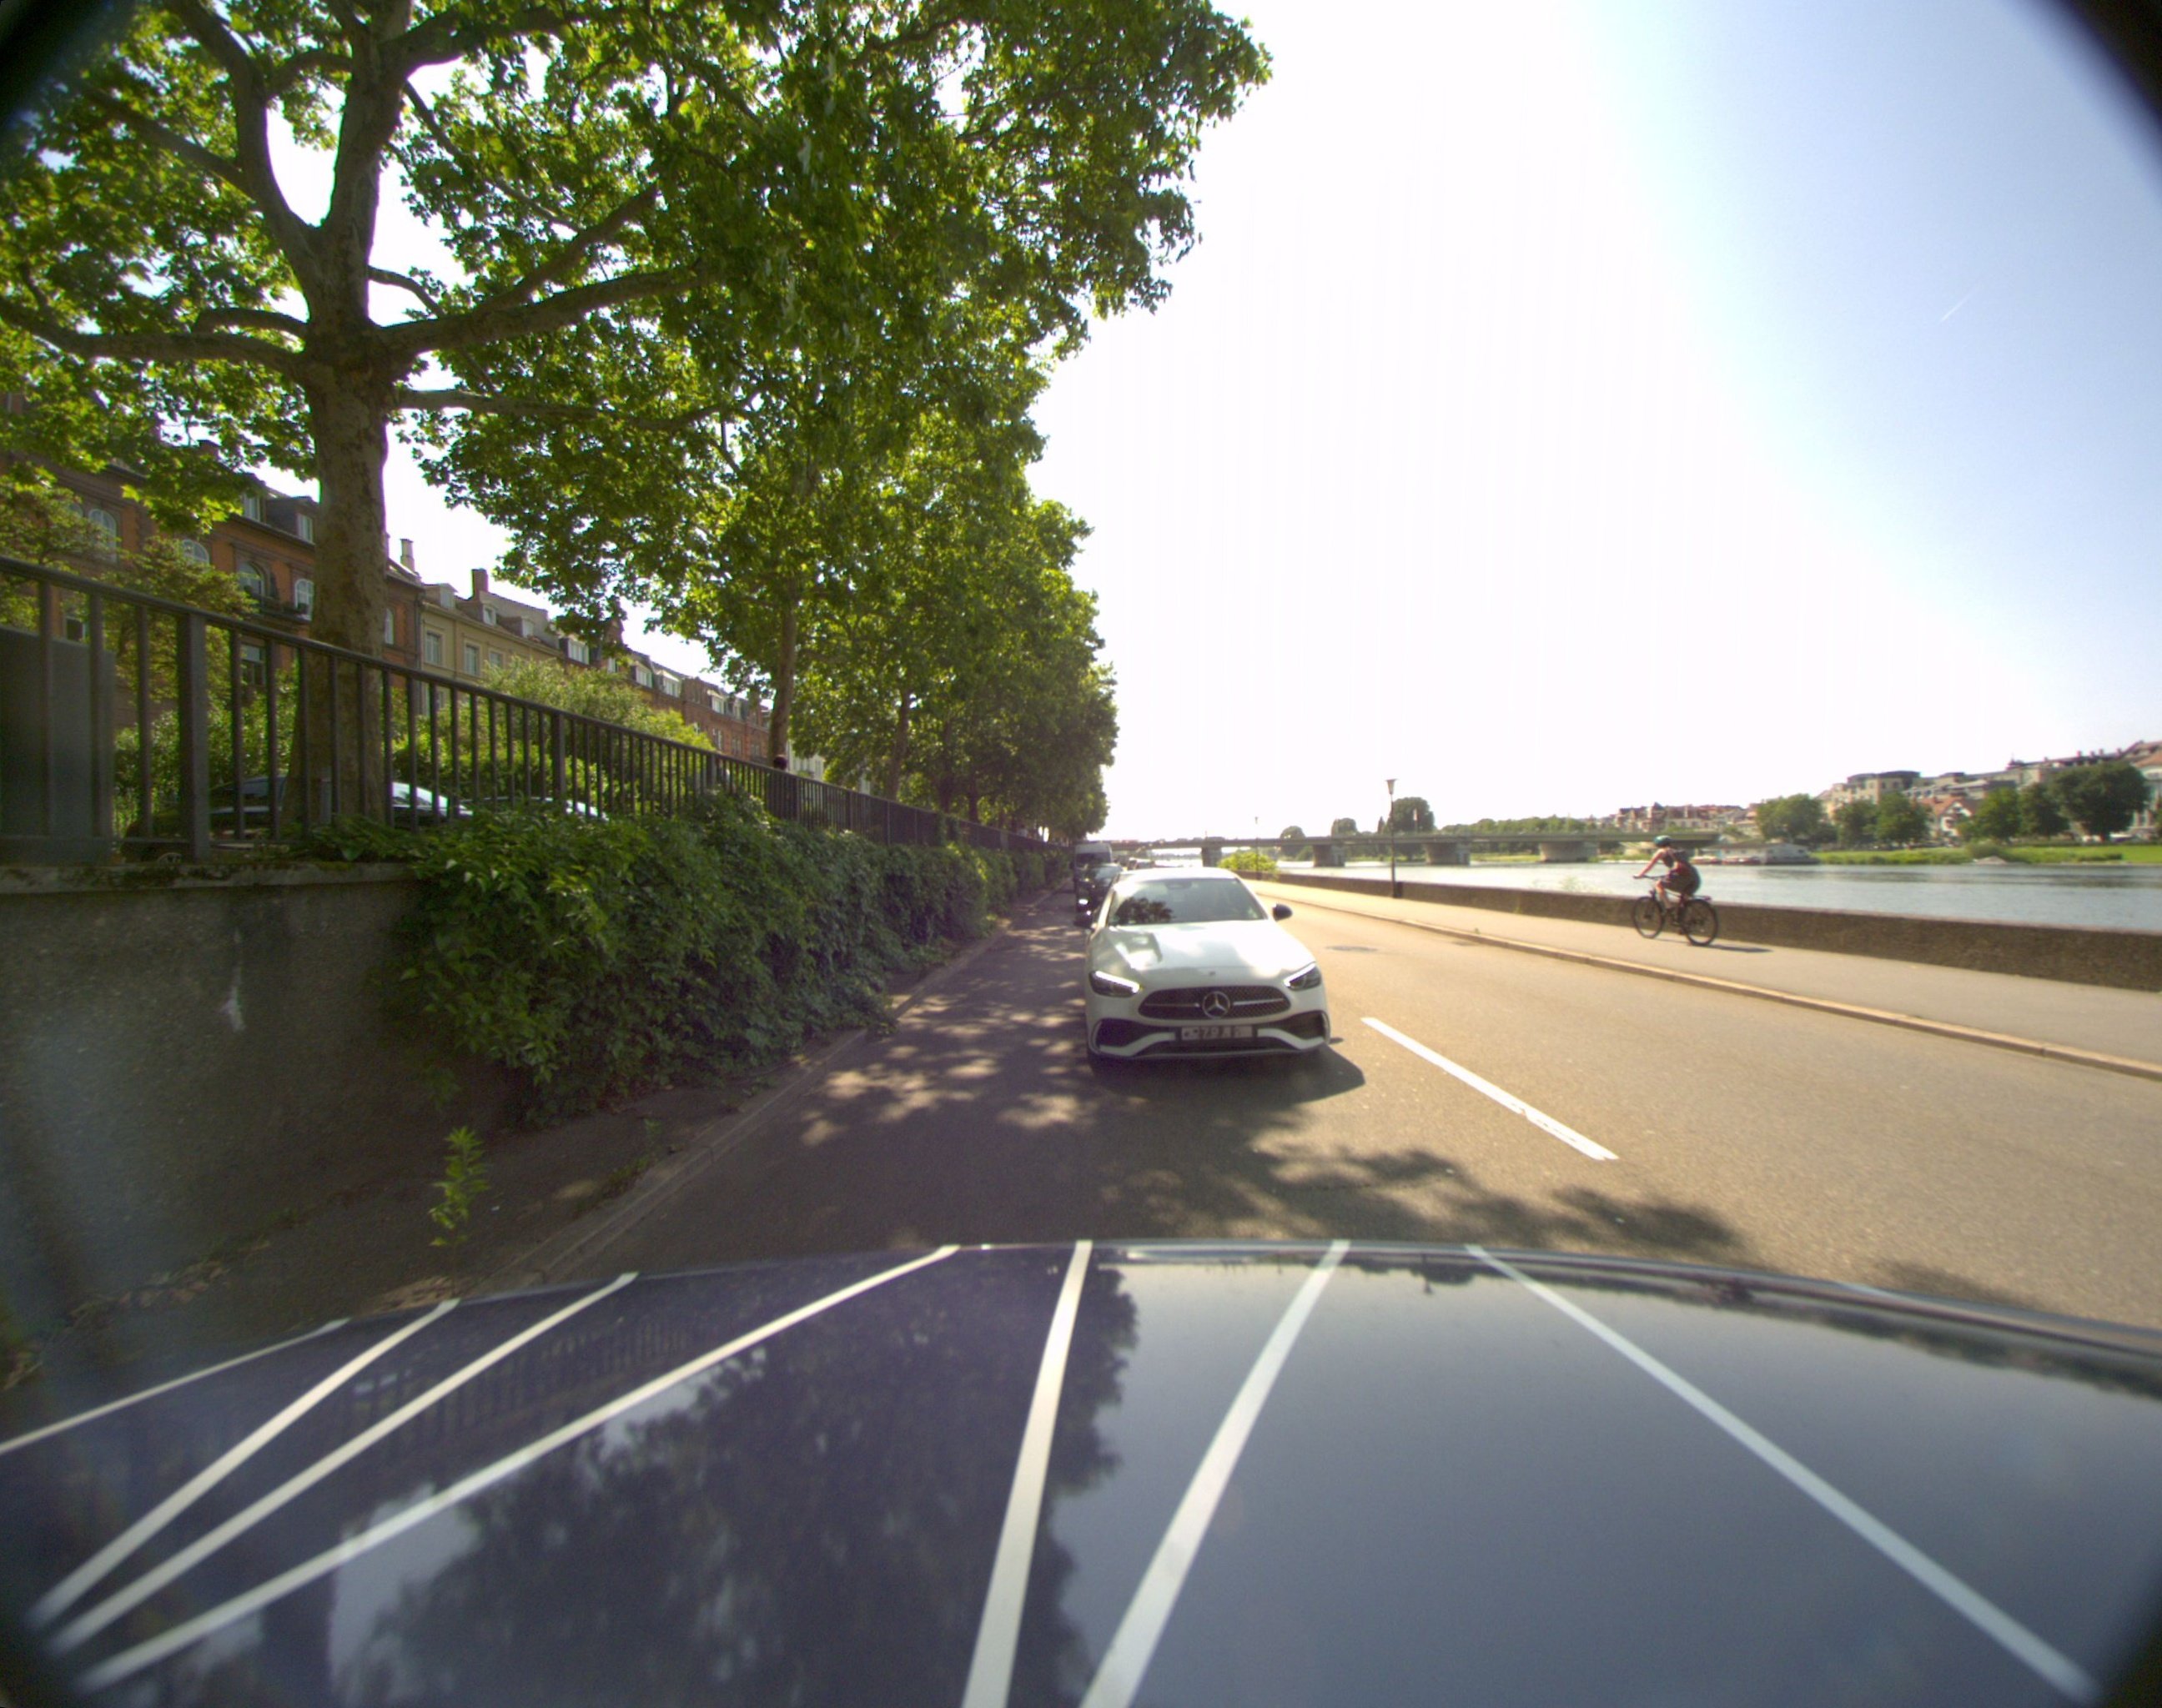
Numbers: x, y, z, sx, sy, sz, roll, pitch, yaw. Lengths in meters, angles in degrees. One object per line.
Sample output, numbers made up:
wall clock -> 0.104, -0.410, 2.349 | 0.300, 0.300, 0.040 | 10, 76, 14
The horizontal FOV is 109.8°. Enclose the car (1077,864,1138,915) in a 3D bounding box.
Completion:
car -> 0.786, 1.078, 24.764 | 1.756, 1.385, 4.619 | -2, 0, 0

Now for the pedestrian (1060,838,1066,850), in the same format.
pedestrian -> -2.293, -1.297, 96.879 | 0.738, 1.582, 0.811 | -1, 0, 1

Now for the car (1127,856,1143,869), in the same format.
car -> 6.996, 1.044, 98.588 | 1.736, 1.640, 4.177 | 0, 0, 0

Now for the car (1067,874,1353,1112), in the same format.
car -> 0.905, 0.984, 7.299 | 1.830, 1.411, 4.553 | -2, 0, 1

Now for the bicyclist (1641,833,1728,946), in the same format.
bicyclist -> 9.234, 0.524, 11.655 | 0.639, 1.664, 0.871 | -1, 0, 0

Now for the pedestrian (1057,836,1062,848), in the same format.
pedestrian -> -3.008, -1.679, 106.391 | 0.738, 1.582, 0.811 | -1, 0, 1

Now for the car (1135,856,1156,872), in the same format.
car -> 6.199, 0.941, 73.315 | 1.736, 1.433, 4.045 | 1, 0, 0

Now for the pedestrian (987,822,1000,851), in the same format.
pedestrian -> -4.271, -0.868, 37.182 | 0.586, 1.411, 0.589 | -1, 0, -7

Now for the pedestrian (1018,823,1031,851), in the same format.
pedestrian -> -3.251, -0.941, 43.418 | 0.666, 1.582, 0.651 | -1, 0, 1

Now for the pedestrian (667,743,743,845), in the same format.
pedestrian -> -5.248, -0.813, 10.647 | 0.645, 1.358, 0.794 | 1, 0, -1

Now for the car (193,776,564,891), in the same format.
car -> -8.499, -0.247, 9.305 | 3.528, 1.228, 1.516 | 1, 0, 11

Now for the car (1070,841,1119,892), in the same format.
car -> 0.682, 0.619, 40.298 | 2.351, 2.428, 6.209 | -1, 0, 0

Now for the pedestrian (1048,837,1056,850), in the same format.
pedestrian -> -2.870, -0.993, 74.158 | 0.713, 1.236, 0.742 | -1, 0, 0

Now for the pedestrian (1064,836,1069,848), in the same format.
pedestrian -> -2.018, -1.682, 106.626 | 0.666, 1.582, 0.765 | -1, 0, 1

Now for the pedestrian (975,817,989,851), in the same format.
pedestrian -> -4.815, -0.969, 37.014 | 0.649, 1.630, 0.626 | -1, 0, -7

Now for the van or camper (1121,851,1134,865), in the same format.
van or camper -> 8.266, 0.734, 136.844 | 2.082, 2.384, 5.385 | 0, 0, 1

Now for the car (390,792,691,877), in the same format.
car -> -8.843, -0.298, 12.739 | 3.737, 1.228, 1.673 | 1, 0, -8

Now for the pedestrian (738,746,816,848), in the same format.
pedestrian -> -4.280, -0.782, 10.759 | 0.755, 1.358, 0.814 | 1, 0, -1

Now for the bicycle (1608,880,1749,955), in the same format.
bicycle -> 9.261, 0.949, 11.893 | 0.634, 1.006, 1.986 | -1, 0, 0
